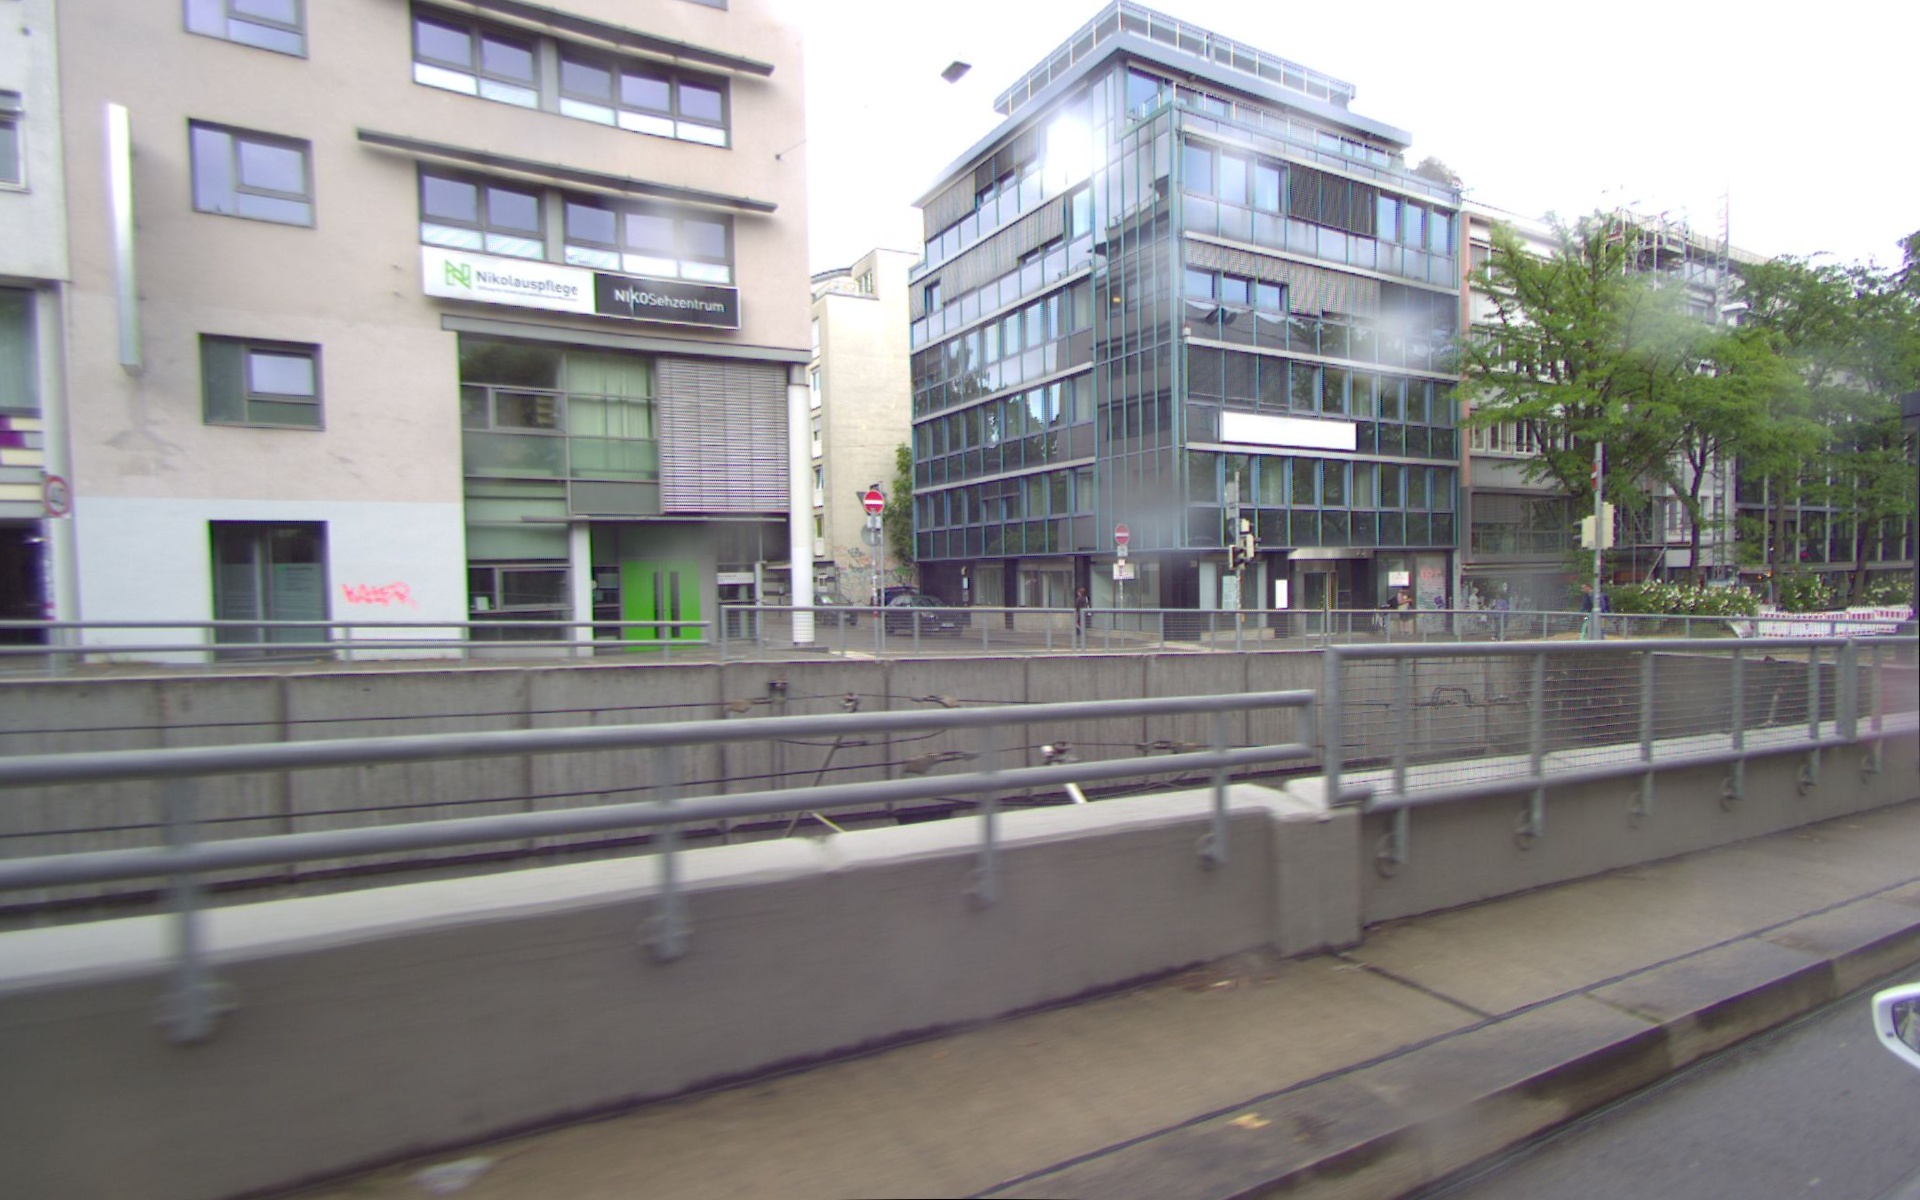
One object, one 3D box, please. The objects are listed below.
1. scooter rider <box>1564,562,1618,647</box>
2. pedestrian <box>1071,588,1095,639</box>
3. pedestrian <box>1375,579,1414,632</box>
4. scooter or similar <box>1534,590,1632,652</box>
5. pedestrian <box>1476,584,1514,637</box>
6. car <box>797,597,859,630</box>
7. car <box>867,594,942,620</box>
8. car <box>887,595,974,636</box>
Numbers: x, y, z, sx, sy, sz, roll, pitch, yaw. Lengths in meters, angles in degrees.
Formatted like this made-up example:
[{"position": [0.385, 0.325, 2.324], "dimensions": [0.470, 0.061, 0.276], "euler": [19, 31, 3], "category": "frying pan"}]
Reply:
[{"position": [15.079, 0.097, 24.015], "dimensions": [0.805, 1.974, 0.811], "euler": [1, 1, 10], "category": "scooter rider"}, {"position": [4.132, 0.433, 33.721], "dimensions": [0.482, 1.694, 0.661], "euler": [0, 1, -30], "category": "pedestrian"}, {"position": [15.632, 0.192, 36.183], "dimensions": [0.943, 1.893, 0.865], "euler": [0, 1, -11], "category": "pedestrian"}, {"position": [14.901, 0.491, 24.058], "dimensions": [1.915, 1.438, 0.548], "euler": [1, 1, 9], "category": "scooter or similar"}, {"position": [19.558, 0.377, 36.701], "dimensions": [0.856, 1.893, 0.873], "euler": [0, 2, -30], "category": "pedestrian"}, {"position": [-6.220, 0.604, 46.980], "dimensions": [1.671, 1.445, 3.869], "euler": [0, 0, -28], "category": "car"}, {"position": [-3.110, 0.378, 56.290], "dimensions": [3.846, 1.445, 1.799], "euler": [0, 0, -27], "category": "car"}, {"position": [-1.181, 0.552, 38.127], "dimensions": [1.788, 1.445, 3.869], "euler": [0, 0, -28], "category": "car"}]
